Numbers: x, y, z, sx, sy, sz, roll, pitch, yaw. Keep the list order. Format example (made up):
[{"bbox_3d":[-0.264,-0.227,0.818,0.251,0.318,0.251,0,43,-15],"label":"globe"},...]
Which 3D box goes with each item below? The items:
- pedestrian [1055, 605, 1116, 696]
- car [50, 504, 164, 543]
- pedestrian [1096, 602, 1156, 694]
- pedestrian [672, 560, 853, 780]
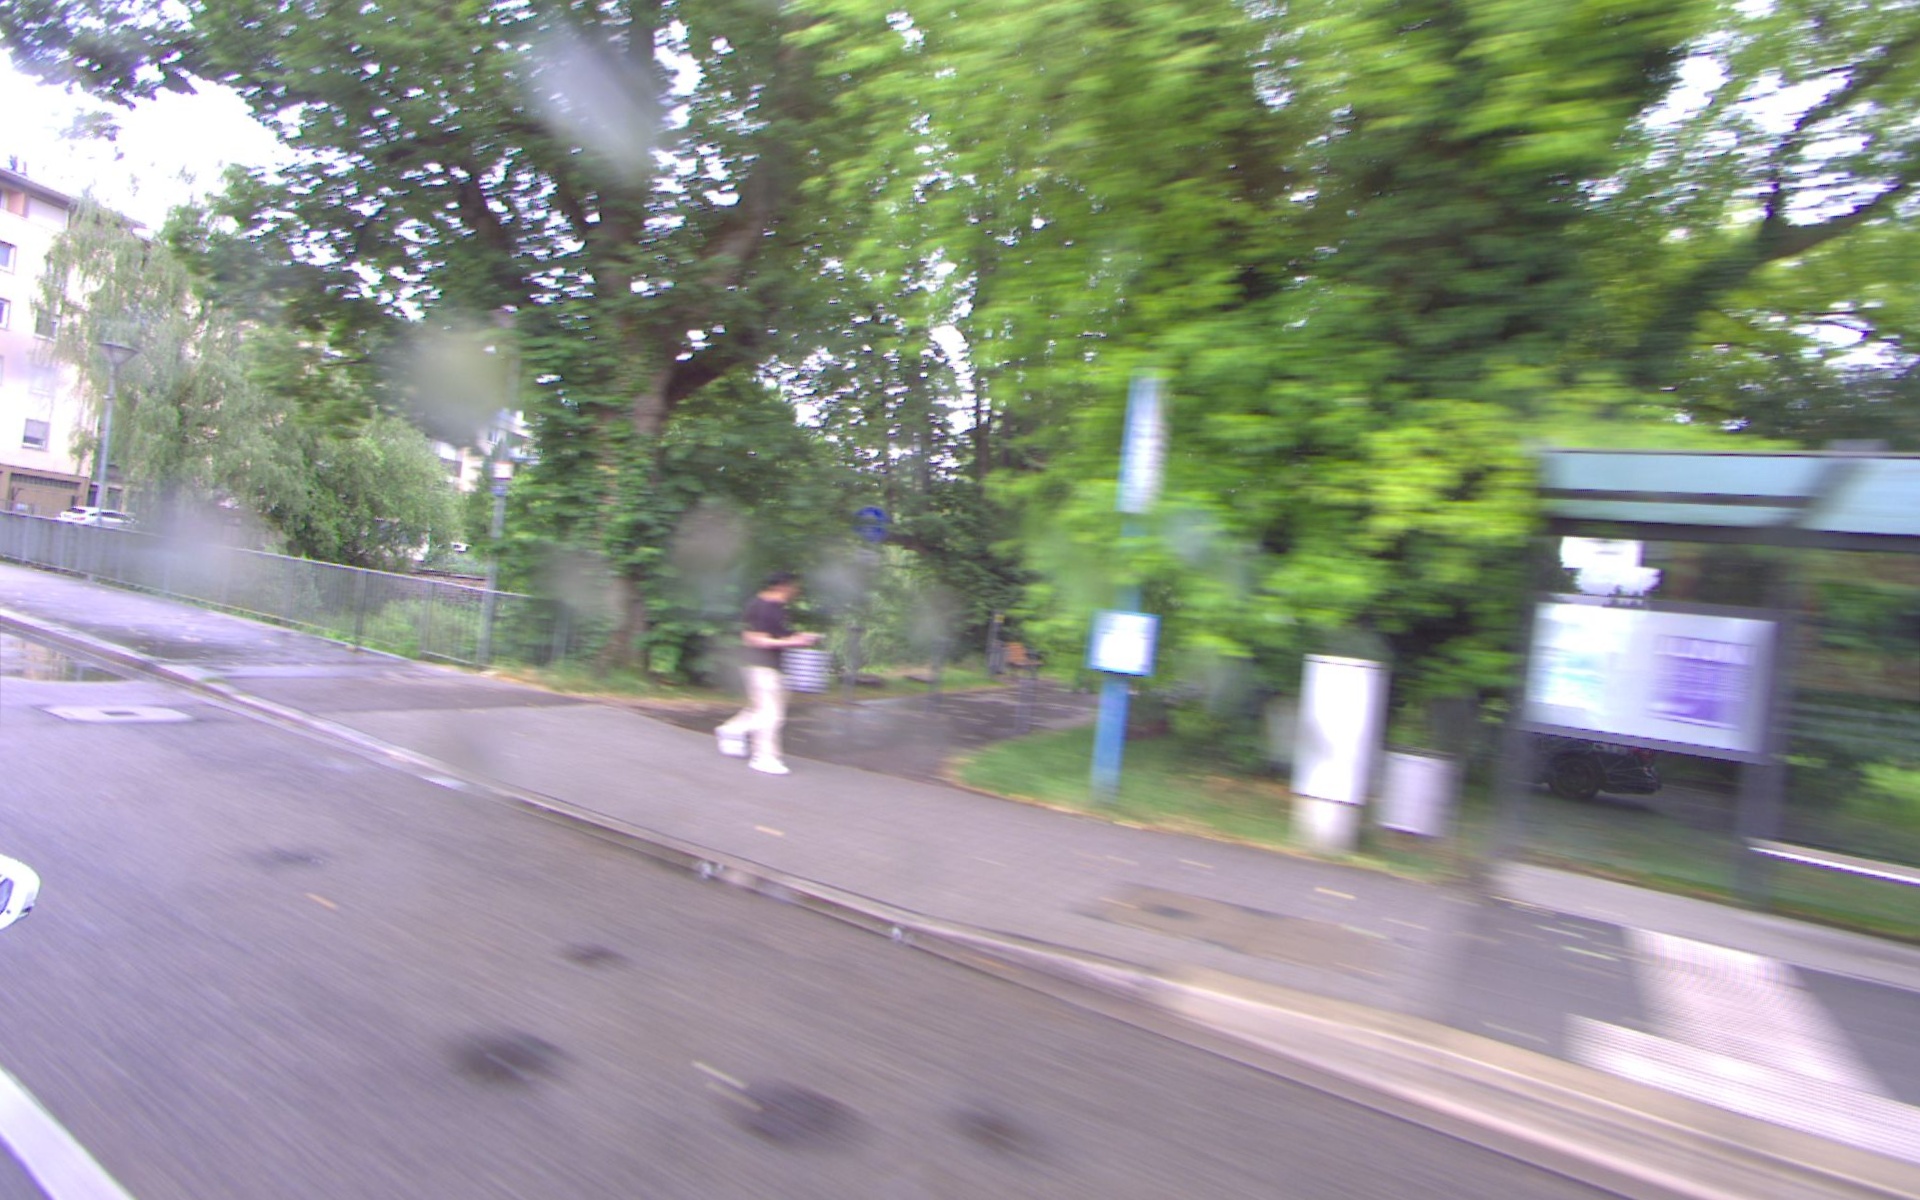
[{"bbox_3d":[2.640,1.066,21.065,0.768,1.774,1.059,6,0,27],"label":"pedestrian"},{"bbox_3d":[-46.898,-4.186,55.408,1.782,1.393,4.455,9,0,15],"label":"car"},{"bbox_3d":[3.440,1.000,20.778,0.768,1.774,1.059,6,0,27],"label":"pedestrian"},{"bbox_3d":[-1.712,0.568,8.731,1.148,1.698,0.848,6,2,31],"label":"pedestrian"}]
